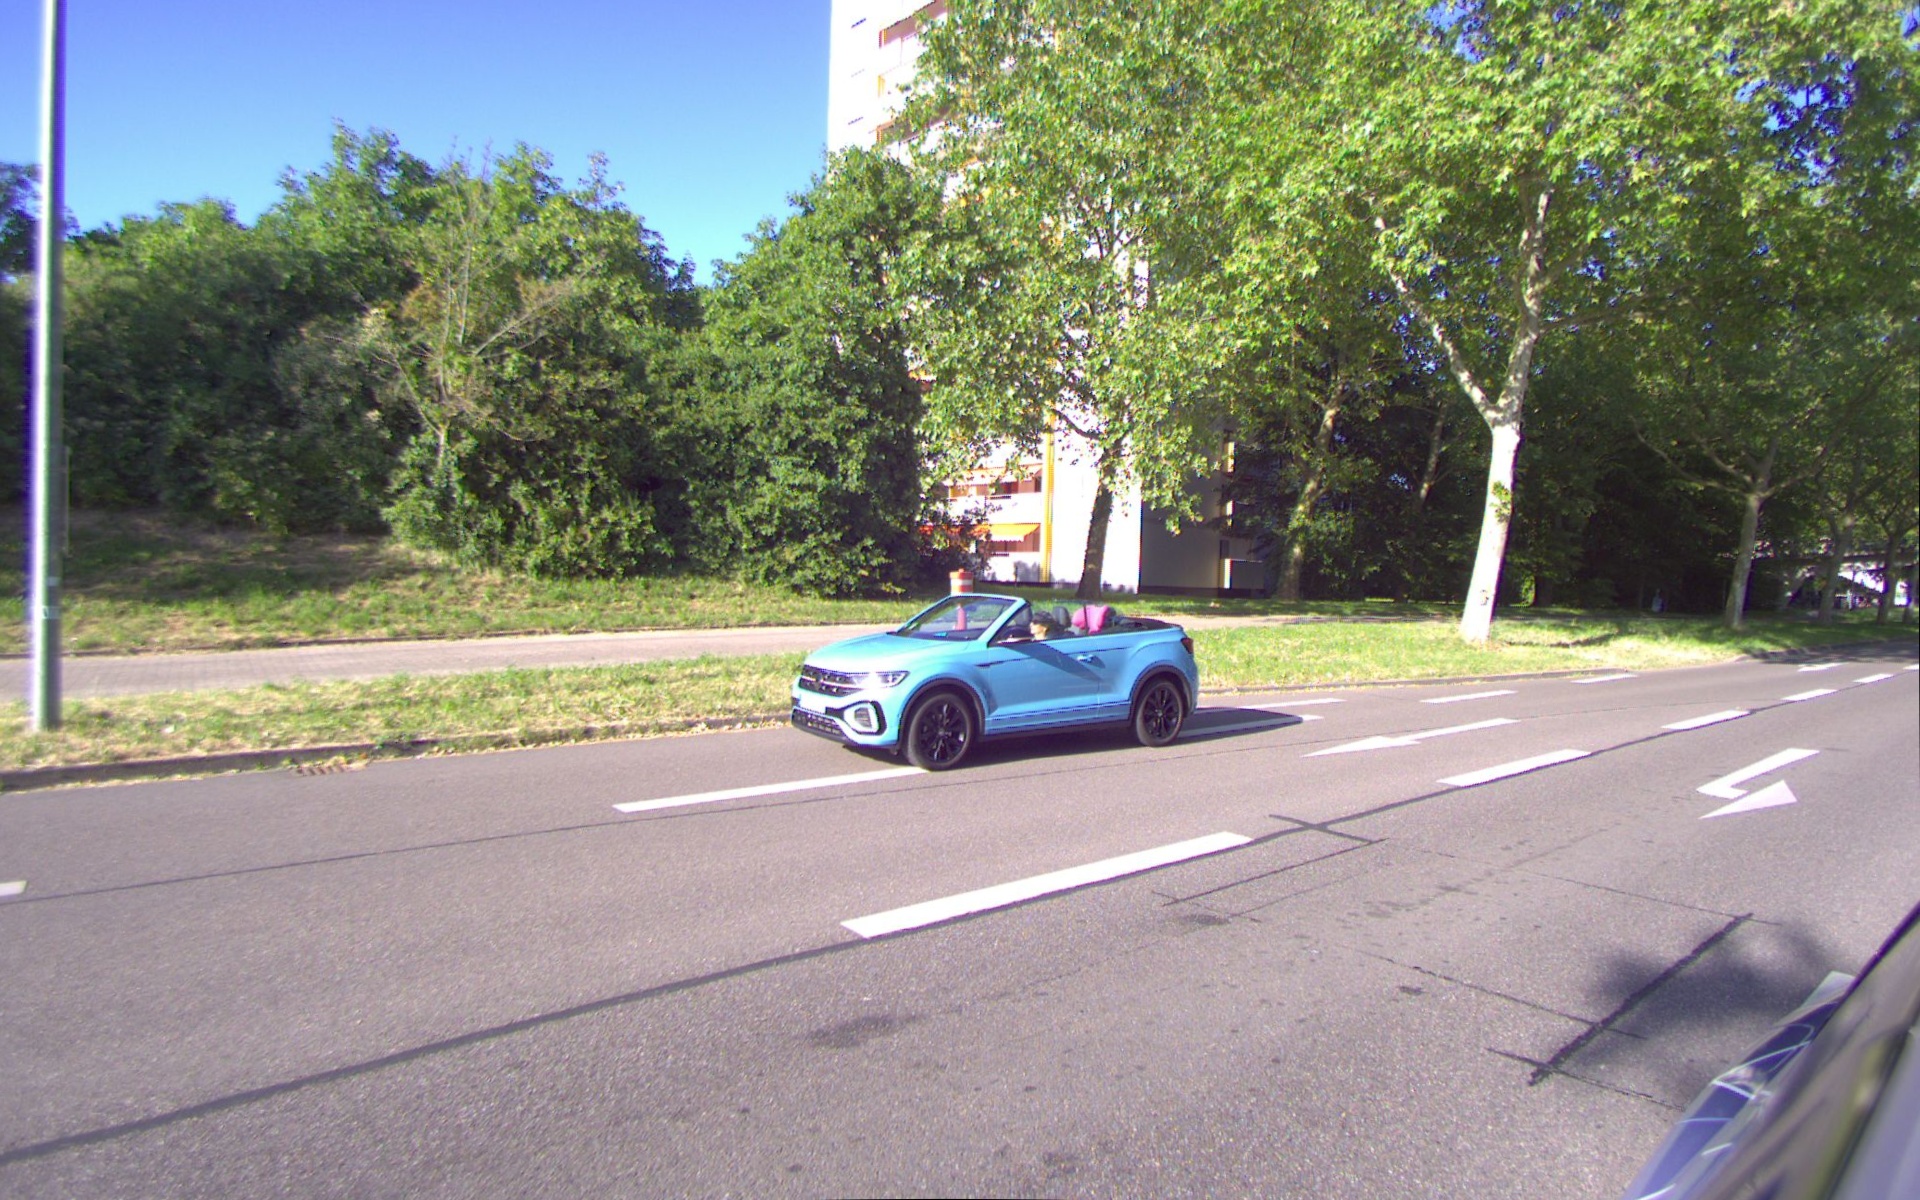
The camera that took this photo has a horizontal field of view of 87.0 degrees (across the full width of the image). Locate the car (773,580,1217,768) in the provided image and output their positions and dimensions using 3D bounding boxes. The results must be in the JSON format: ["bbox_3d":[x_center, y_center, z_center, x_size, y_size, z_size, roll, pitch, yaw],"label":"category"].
[{"bbox_3d":[0.431,0.566,9.802,4.052,1.468,1.740,0,1,-34],"label":"car"}]
